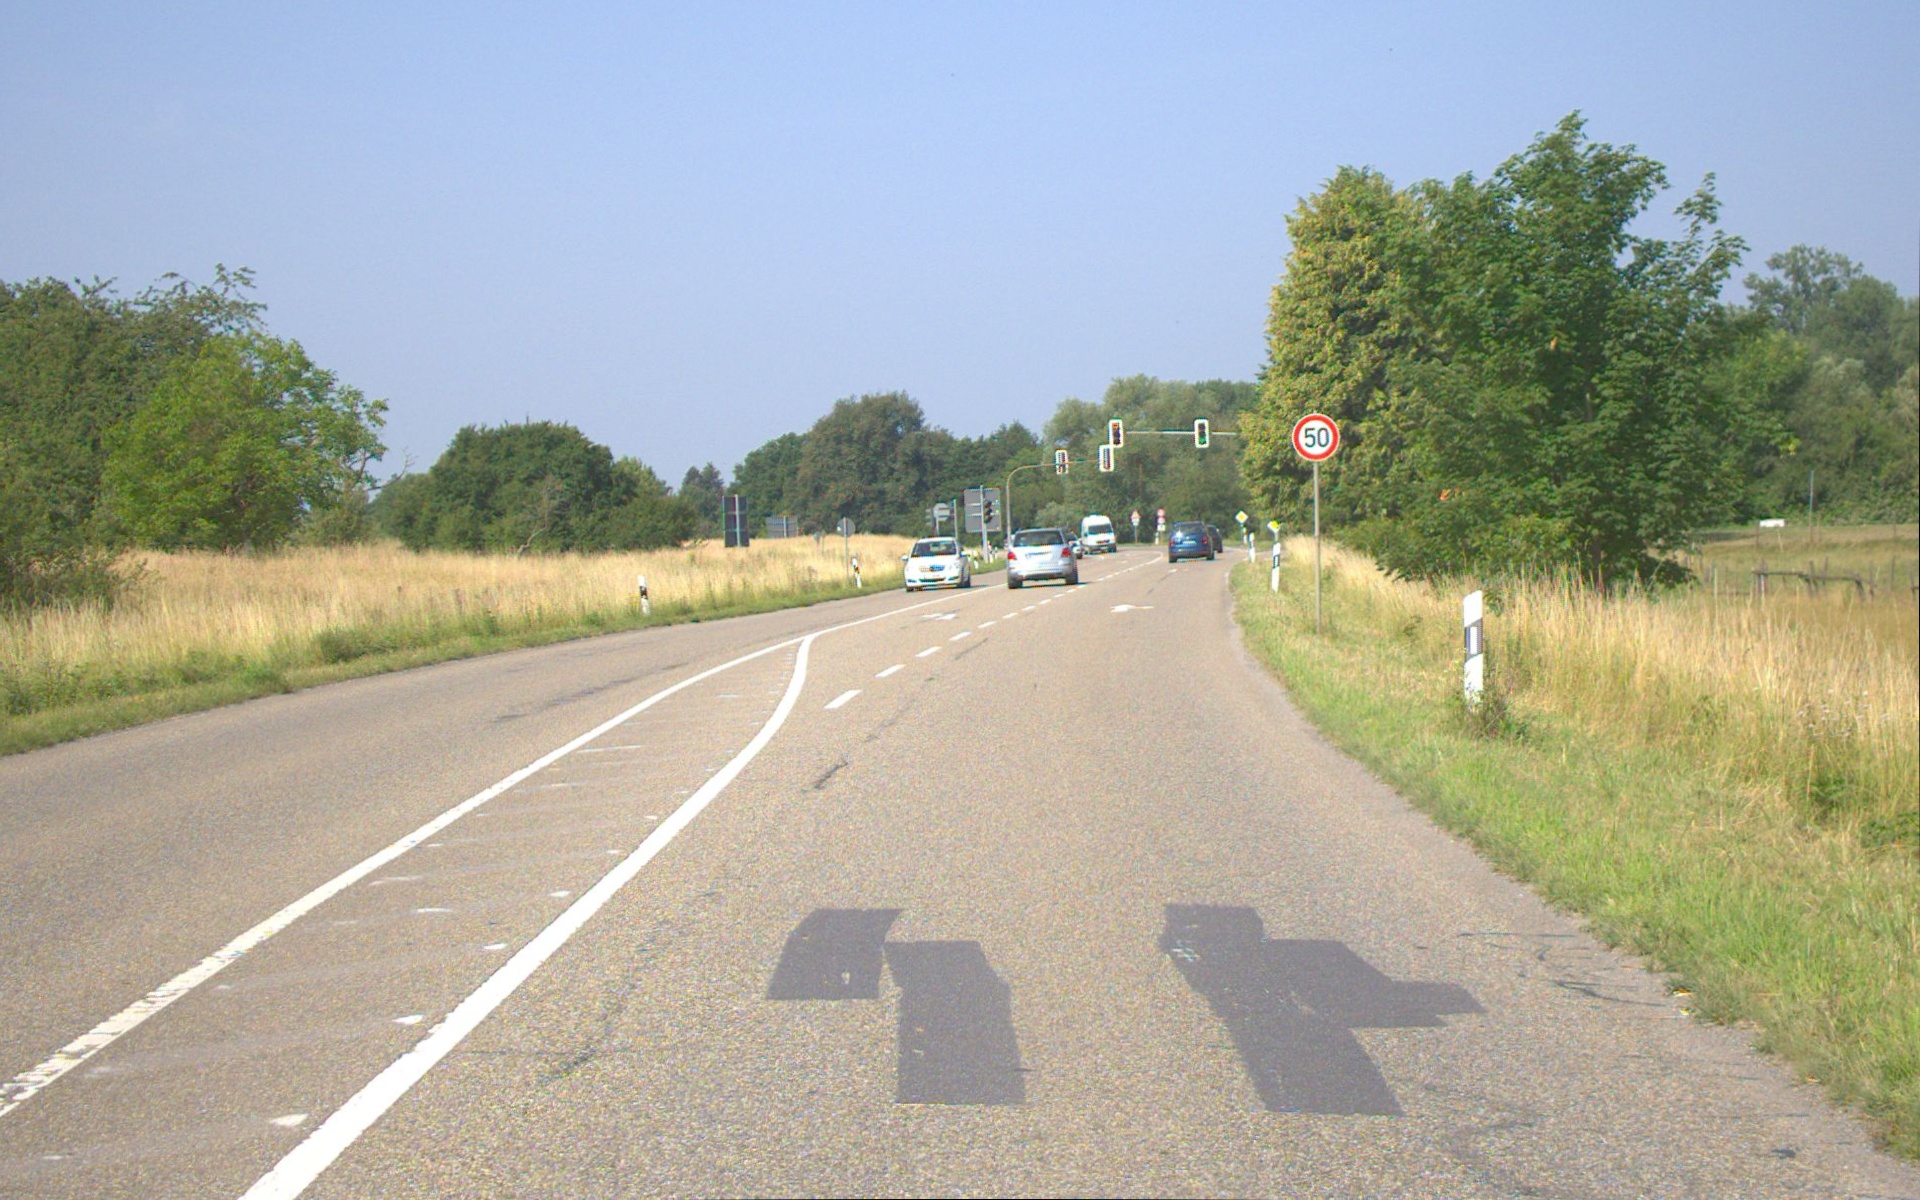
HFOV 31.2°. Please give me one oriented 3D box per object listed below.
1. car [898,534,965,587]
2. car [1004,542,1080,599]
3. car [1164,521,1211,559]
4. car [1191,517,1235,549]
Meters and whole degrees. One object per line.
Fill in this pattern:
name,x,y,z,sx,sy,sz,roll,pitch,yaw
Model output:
car,-0.857,-1.221,106.008,1.812,1.579,4.224,1,1,3
car,2.289,-0.839,95.174,1.899,1.506,4.000,1,1,4
car,9.438,-2.492,142.280,1.816,1.515,4.000,-2,1,5
car,12.556,-3.333,170.793,1.841,1.546,4.000,1,1,0
